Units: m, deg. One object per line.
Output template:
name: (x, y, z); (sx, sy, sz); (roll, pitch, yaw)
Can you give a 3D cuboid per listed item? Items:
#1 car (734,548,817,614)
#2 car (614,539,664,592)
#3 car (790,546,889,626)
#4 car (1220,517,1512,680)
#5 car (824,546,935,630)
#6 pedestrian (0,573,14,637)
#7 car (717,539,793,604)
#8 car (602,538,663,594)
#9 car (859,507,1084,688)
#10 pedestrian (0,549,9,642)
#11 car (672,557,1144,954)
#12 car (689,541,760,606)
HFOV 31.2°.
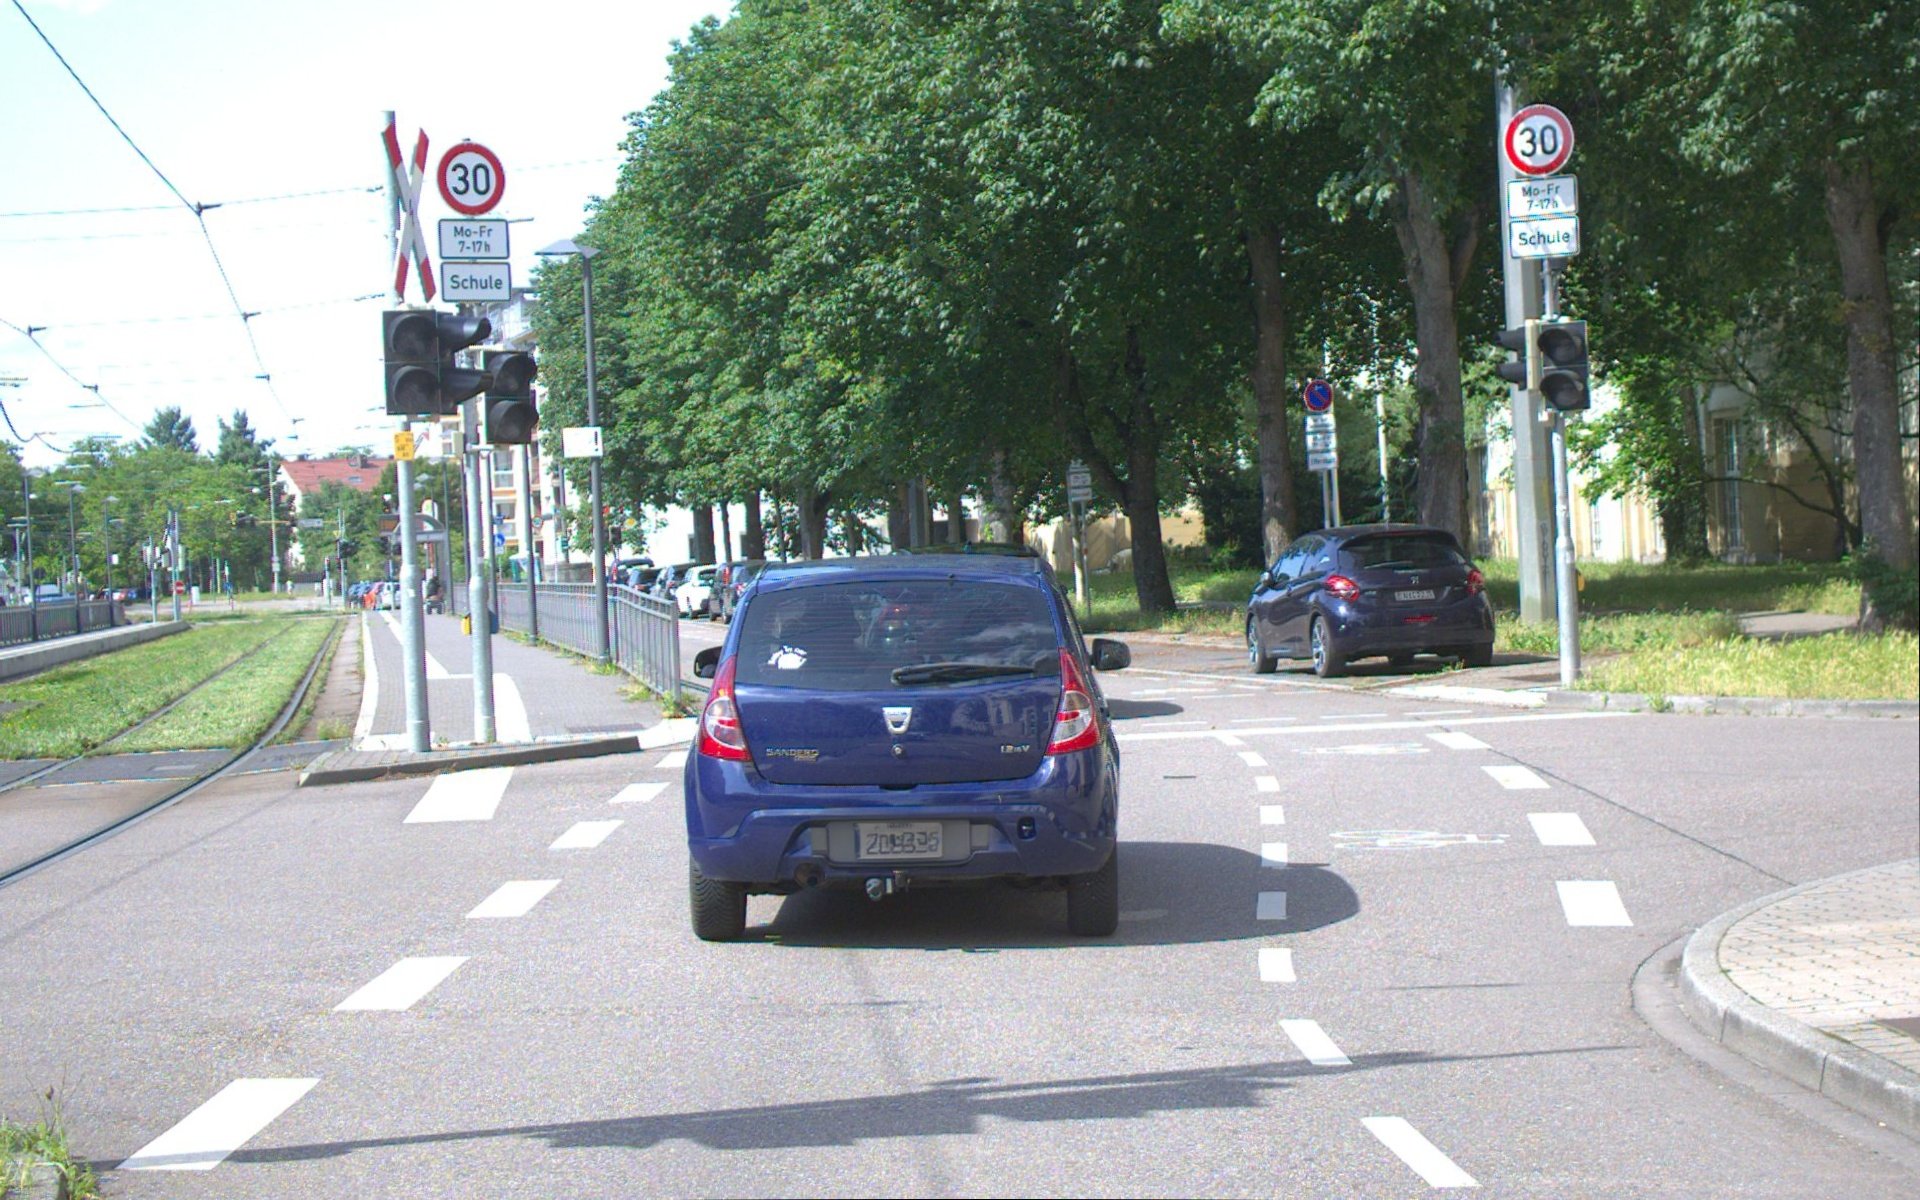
car: (-4.514, -0.483, 83.549); (1.861, 1.440, 4.001); (-4, 1, -4)
car: (-11.412, -1.247, 122.173); (1.667, 1.766, 4.001); (-3, 1, -5)
car: (-2.525, -0.314, 71.223); (1.851, 1.510, 4.001); (-3, 1, -4)
car: (3.989, -0.037, 34.393); (1.765, 1.428, 3.905); (-4, 1, -10)
car: (-1.584, -0.263, 66.501); (1.861, 1.440, 4.001); (-4, 1, -4)
pedestrian: (-22.047, 0.138, 77.839); (1.028, 1.433, 0.703); (-5, 2, -23)
car: (-5.329, -0.762, 89.110); (1.827, 1.532, 4.001); (-4, 1, -4)
car: (-11.039, -1.154, 116.067); (1.830, 1.755, 4.001); (-3, 1, -4)
car: (0.041, -0.069, 28.458); (1.700, 1.363, 3.515); (-1, 2, -2)
pedestrian: (-21.069, -0.097, 74.747); (0.660, 2.007, 0.804); (-3, 1, -16)
car: (-0.206, 0.561, 14.777); (1.768, 1.457, 3.776); (0, 1, 0)
car: (-6.680, -0.760, 97.318); (1.617, 1.744, 4.001); (-3, 1, -9)
